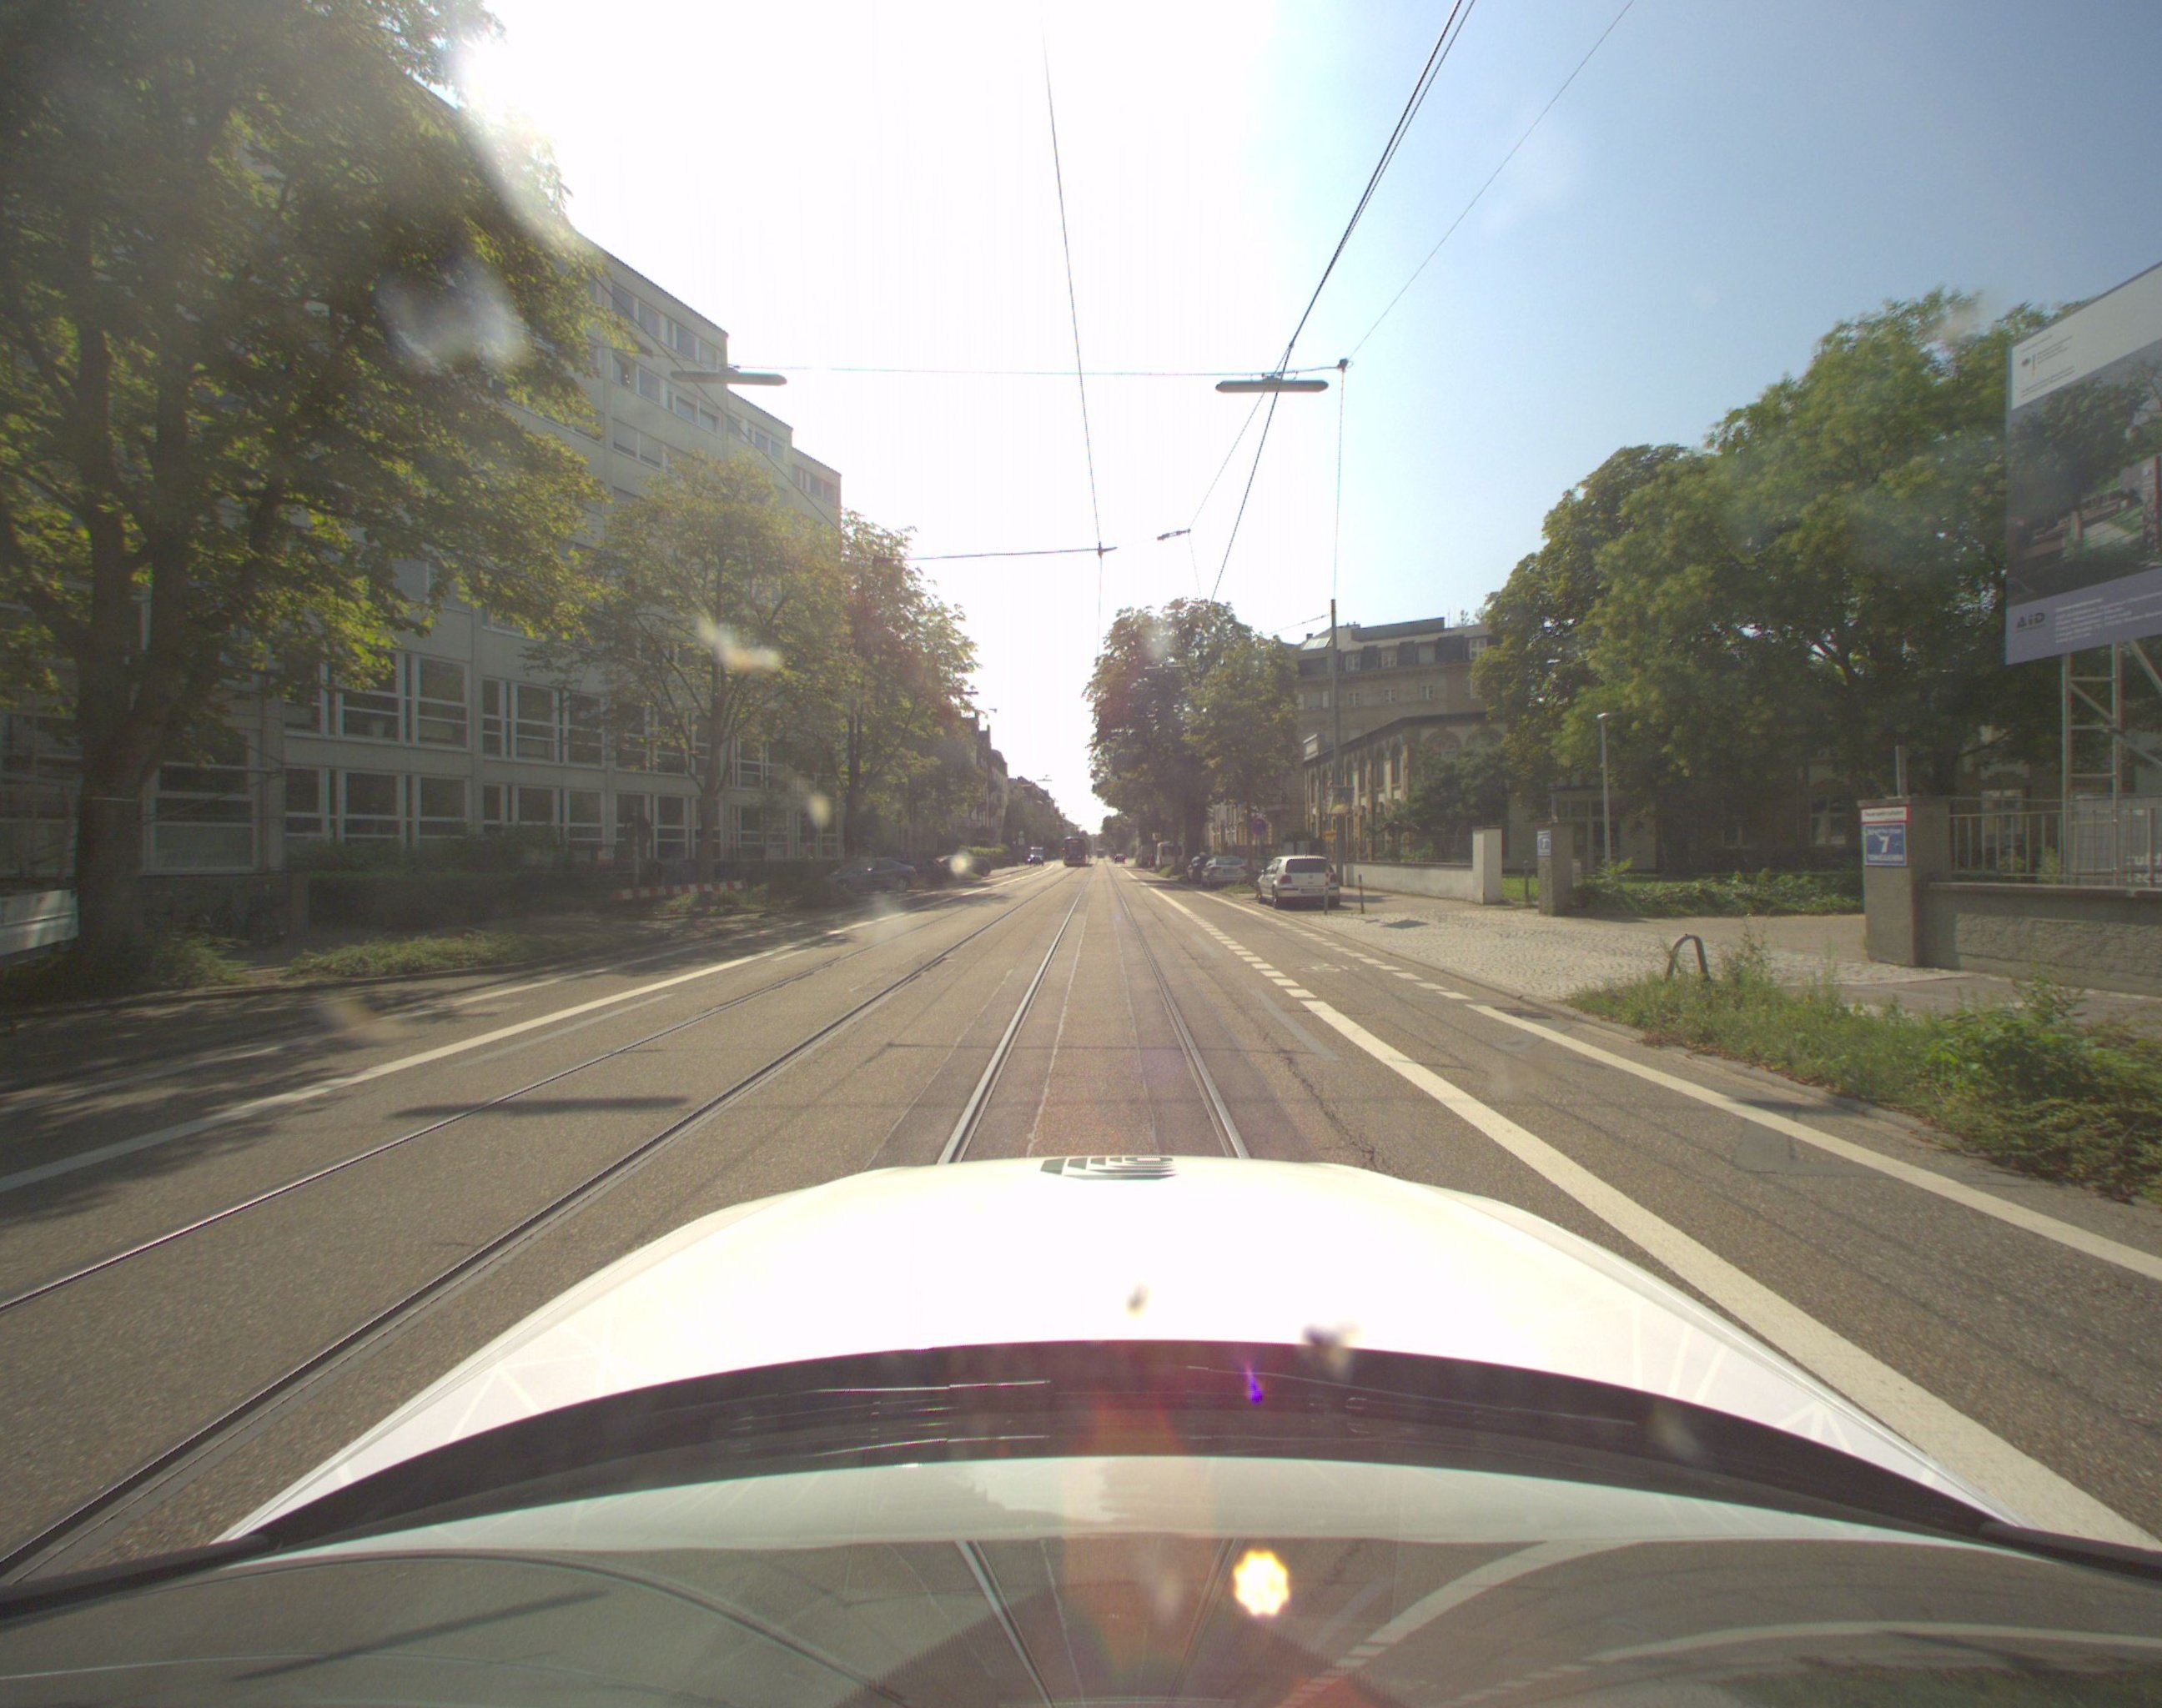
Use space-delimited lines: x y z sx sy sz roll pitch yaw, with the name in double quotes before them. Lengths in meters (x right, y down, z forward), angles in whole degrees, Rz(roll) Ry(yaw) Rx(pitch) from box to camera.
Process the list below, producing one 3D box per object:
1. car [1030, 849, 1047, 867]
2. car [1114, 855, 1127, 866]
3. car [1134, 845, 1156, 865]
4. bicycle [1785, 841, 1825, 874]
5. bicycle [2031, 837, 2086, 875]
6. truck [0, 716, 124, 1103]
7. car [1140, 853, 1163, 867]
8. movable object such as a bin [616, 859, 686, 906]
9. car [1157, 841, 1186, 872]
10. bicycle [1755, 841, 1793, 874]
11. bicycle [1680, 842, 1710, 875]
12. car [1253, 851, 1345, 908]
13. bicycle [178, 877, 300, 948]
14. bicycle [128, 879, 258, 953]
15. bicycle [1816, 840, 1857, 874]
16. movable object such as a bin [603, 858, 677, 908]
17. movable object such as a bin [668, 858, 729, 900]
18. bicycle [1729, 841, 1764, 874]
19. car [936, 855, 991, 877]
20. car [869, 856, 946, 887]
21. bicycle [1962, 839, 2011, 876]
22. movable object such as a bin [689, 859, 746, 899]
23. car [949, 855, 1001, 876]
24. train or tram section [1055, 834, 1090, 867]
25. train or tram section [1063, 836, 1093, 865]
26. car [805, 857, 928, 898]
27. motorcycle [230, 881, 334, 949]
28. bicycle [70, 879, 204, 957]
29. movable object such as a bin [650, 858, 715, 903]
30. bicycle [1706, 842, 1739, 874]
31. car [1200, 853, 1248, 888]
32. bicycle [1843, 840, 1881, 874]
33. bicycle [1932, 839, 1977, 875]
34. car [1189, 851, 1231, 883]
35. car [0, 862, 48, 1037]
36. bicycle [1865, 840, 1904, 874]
"car" -5.938 0.572 114.261 2.236 2.441 3.997 0 0 -2
"car" 6.326 1.045 131.081 1.986 1.801 4.002 0 0 2
"car" 7.153 0.122 91.523 1.989 2.233 3.995 -1 0 -3
"bicycle" 28.962 0.143 32.613 0.762 1.302 2.542 -1 -1 32
"bicycle" 35.092 0.082 29.266 0.601 1.302 2.187 -1 -1 32
"truck" -9.779 0.397 4.158 5.997 2.434 2.126 -1 0 -38
"car" 7.302 0.573 84.375 1.988 1.398 3.998 -1 0 -1
"movable object such as a bin" -15.025 0.970 28.495 1.677 1.559 1.354 -1 0 0
"car" 7.100 0.220 64.223 1.986 2.365 4.002 0 0 2
"bicycle" 27.936 0.148 32.862 0.762 1.302 2.542 -1 -1 32
"bicycle" 25.660 0.185 34.052 0.762 1.302 2.542 -1 -1 32
"car" 6.058 0.667 23.025 1.783 1.446 3.737 -2 0 4
"bicycle" -15.427 1.045 14.920 2.320 1.169 0.565 1 0 18
"bicycle" -15.619 1.063 14.318 2.319 1.169 0.625 1 0 18
"bicycle" 29.794 0.129 32.150 0.762 1.302 2.287 -1 -1 32
"movable object such as a bin" -14.616 0.940 27.055 1.677 1.559 1.354 -1 0 0
"movable object such as a bin" -14.852 0.960 31.698 1.677 1.559 1.354 -1 0 0
"bicycle" 27.104 0.156 33.211 0.762 1.302 2.542 -1 -1 32
"car" -8.591 0.858 59.645 3.605 1.574 1.657 0 -1 -40
"car" -9.067 0.876 42.717 3.605 1.574 1.657 0 -1 -40
"bicycle" 33.446 0.122 30.108 0.601 1.302 2.187 -1 -1 32
"movable object such as a bin" -14.789 0.984 33.174 1.677 1.559 1.354 -1 0 0
"car" -8.150 0.877 62.674 3.605 1.574 1.657 0 -1 -40
"train or tram section" -0.908 -0.429 98.482 3.483 3.704 12.420 0 0 2
"train or tram section" -0.285 -0.510 110.910 3.483 3.704 12.420 0 0 2
"car" -8.774 0.920 33.613 1.656 1.451 4.716 -1 1 45
"motorcycle" -15.291 1.132 15.589 1.824 1.182 0.699 1 0 21
"bicycle" -15.826 1.039 13.652 2.319 1.169 0.625 1 0 19
"movable object such as a bin" -14.718 0.962 30.140 1.677 1.559 1.354 -1 0 0
"bicycle" 26.341 0.164 33.483 0.762 1.302 2.542 -1 -1 32
"car" 6.370 0.708 36.538 1.634 1.511 3.642 0 0 2
"bicycle" 30.495 0.121 31.822 0.619 1.302 2.287 -1 -1 32
"bicycle" 32.685 0.129 30.507 0.601 1.302 2.187 -1 -1 32
"car" 6.701 0.667 42.636 1.786 1.577 4.004 -1 0 3
"car" -11.135 0.854 6.148 3.881 1.508 1.700 -1 -1 -42
"bicycle" 31.075 0.117 31.521 0.601 1.302 2.187 -1 -1 32
